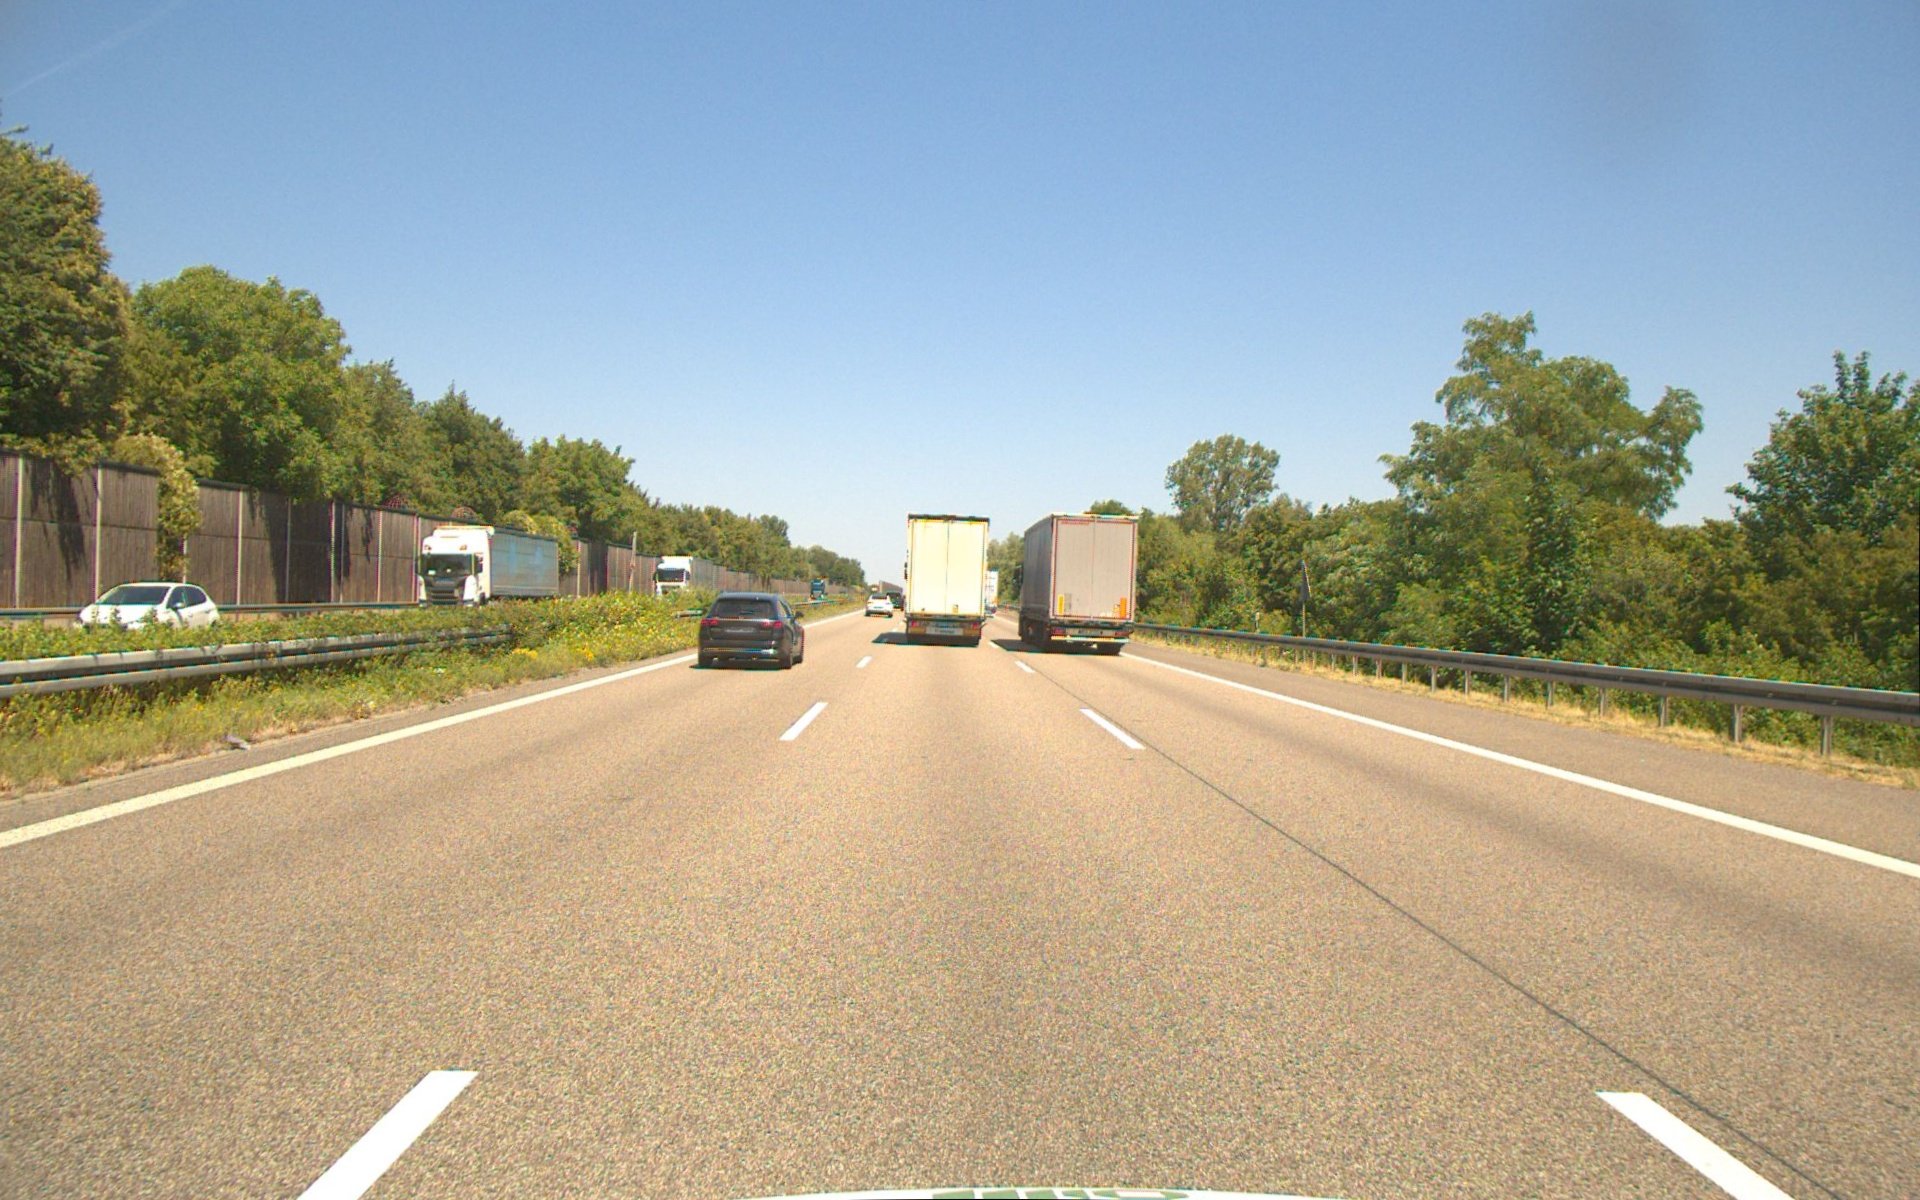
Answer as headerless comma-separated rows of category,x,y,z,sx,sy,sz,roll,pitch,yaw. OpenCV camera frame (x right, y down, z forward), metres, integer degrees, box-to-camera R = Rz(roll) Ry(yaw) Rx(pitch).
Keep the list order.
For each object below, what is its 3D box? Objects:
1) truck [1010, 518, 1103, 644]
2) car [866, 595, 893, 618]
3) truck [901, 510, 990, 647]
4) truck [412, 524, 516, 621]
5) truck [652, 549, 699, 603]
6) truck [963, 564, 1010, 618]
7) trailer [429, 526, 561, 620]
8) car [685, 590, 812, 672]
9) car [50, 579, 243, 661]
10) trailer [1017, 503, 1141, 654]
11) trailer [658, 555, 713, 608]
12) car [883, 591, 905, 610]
truck,3.465,-0.652,61.174,2.637,4.289,7.835,1,0,-2
car,-5.442,0.424,112.252,1.818,1.512,3.998,0,0,-2
truck,-0.647,-0.669,57.740,2.652,4.157,13.469,1,0,-2
truck,-21.981,-1.175,73.707,2.702,4.092,6.732,1,0,-2
truck,-23.324,-1.885,135.847,2.776,4.256,7.139,1,0,-2
truck,2.243,-0.782,145.639,3.306,4.378,11.445,3,0,-2
trailer,-22.152,-1.179,79.807,2.679,4.092,14.300,1,0,-2
car,-4.282,0.573,34.331,1.904,1.533,5.820,0,0,0
car,-17.289,0.399,35.422,1.953,1.618,4.492,1,0,-1
trailer,3.662,-0.632,54.245,2.649,4.289,13.207,1,0,-2
trailer,-23.482,-1.499,142.047,2.851,4.256,13.307,1,0,-2
car,-5.976,0.048,149.324,1.819,1.645,3.997,0,0,-4
